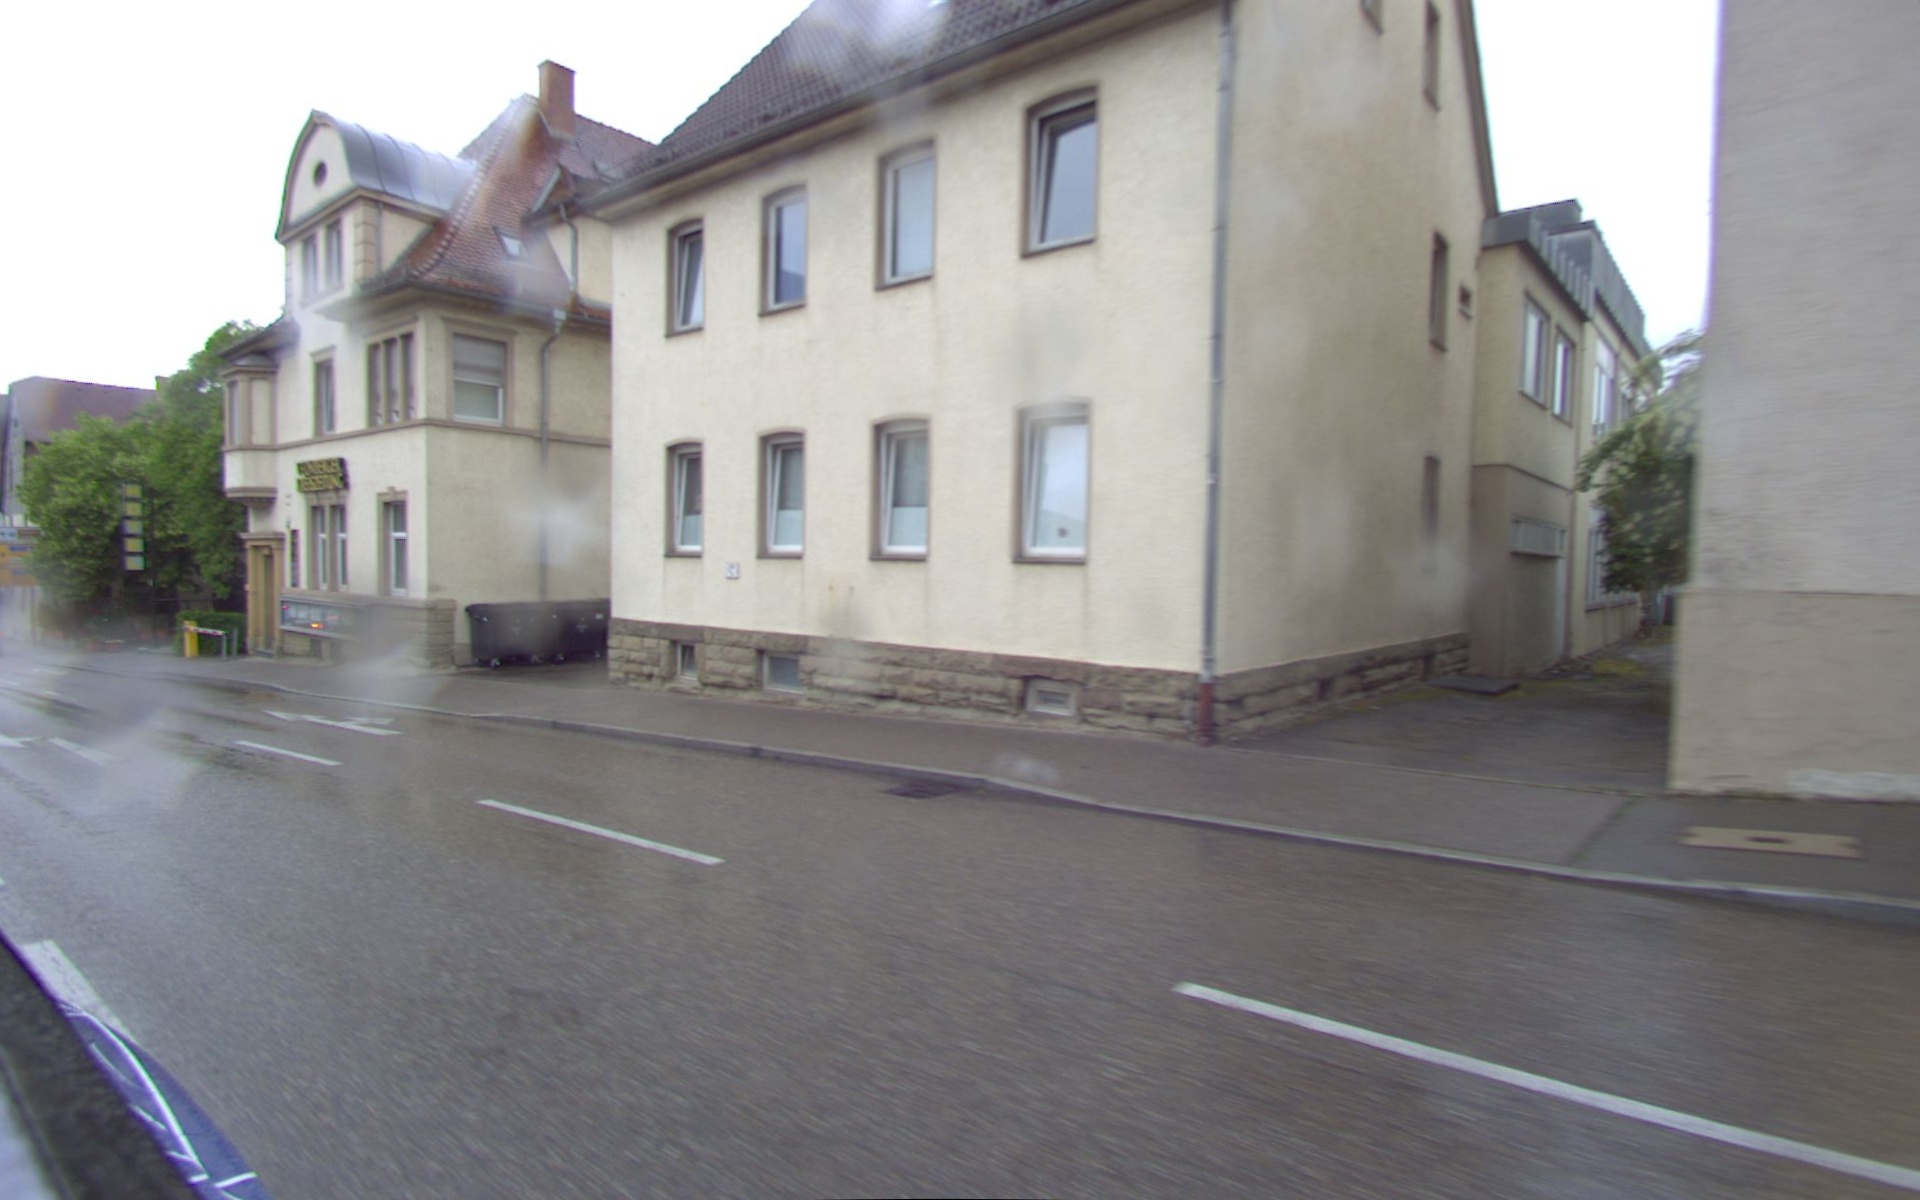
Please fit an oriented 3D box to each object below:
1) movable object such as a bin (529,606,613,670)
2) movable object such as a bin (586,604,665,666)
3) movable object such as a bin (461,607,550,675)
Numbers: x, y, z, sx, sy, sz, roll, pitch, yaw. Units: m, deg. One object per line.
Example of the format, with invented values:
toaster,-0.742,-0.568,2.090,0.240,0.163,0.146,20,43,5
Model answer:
movable object such as a bin,-8.169,0.779,21.284,1.049,1.276,1.267,-1,0,38
movable object such as a bin,-7.372,0.753,22.312,1.049,1.276,1.267,-1,0,38
movable object such as a bin,-9.137,0.809,20.371,1.049,1.276,1.267,-1,0,38
